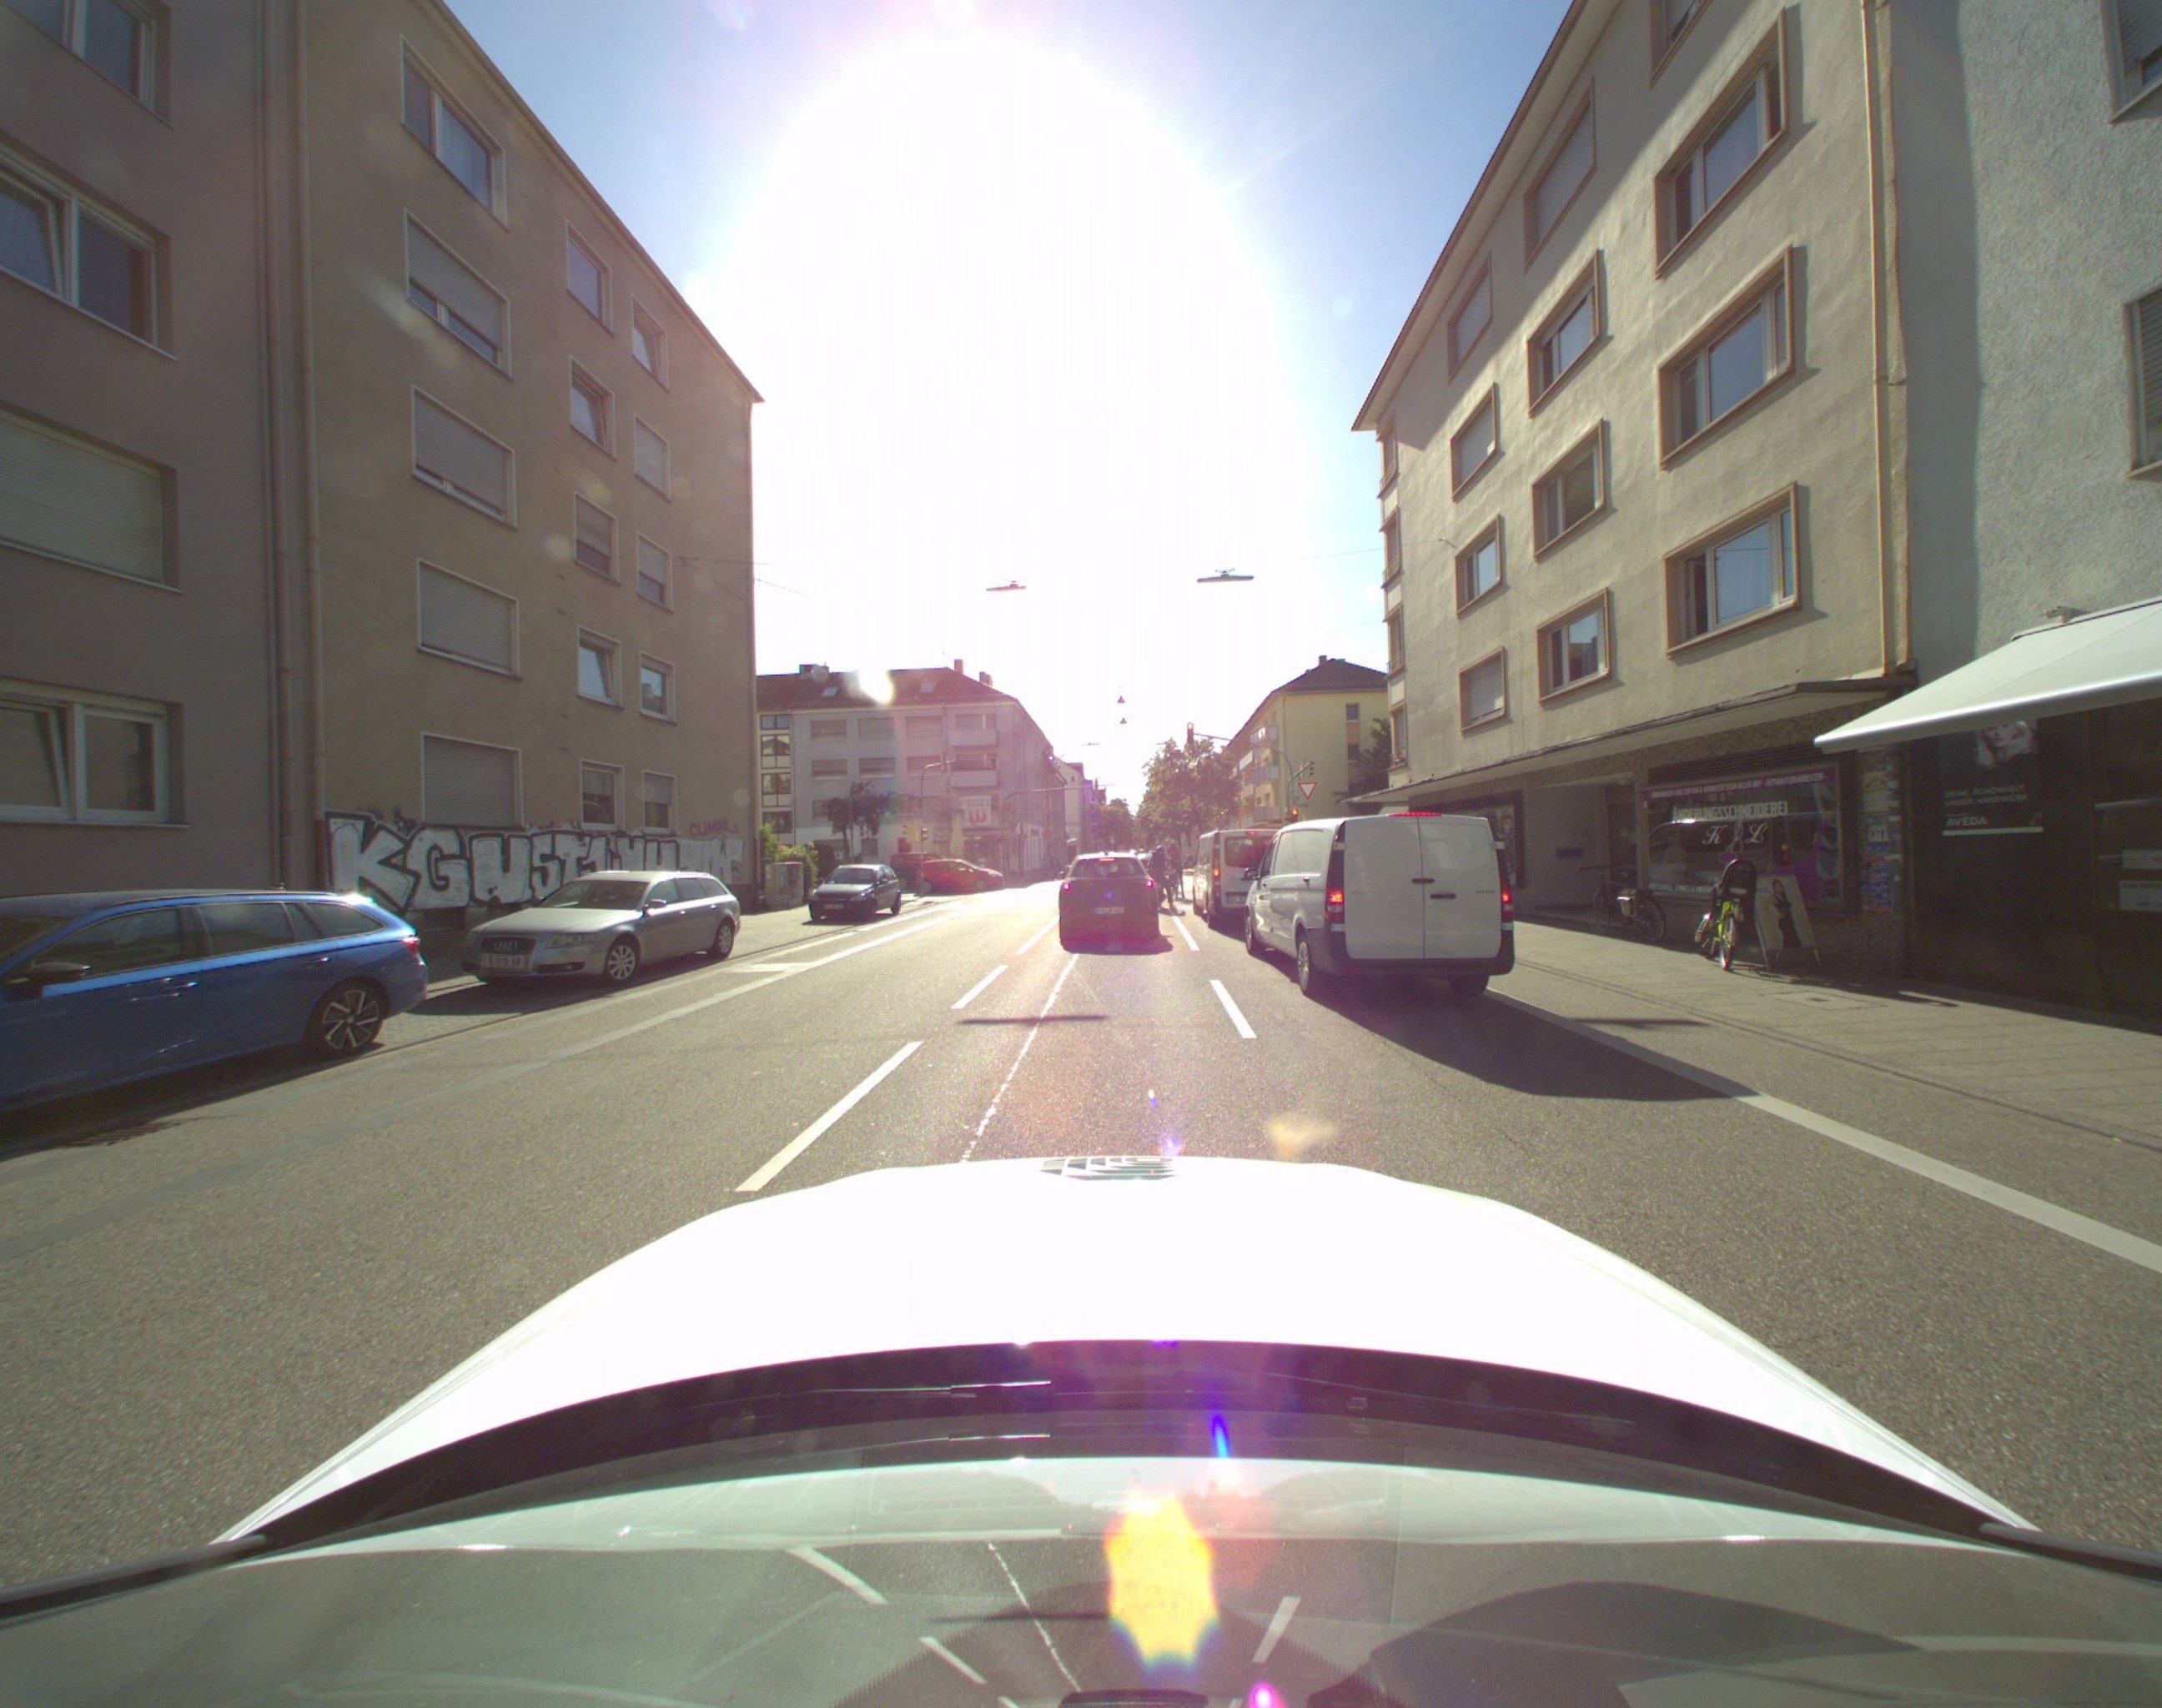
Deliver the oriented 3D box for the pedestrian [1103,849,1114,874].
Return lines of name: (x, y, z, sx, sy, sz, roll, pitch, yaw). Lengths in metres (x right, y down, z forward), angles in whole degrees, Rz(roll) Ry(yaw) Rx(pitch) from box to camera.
pedestrian: (1.817, 0.474, 53.152, 0.677, 1.606, 0.763, -2, 0, 1)

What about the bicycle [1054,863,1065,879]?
bicycle: (-1.423, 1.119, 53.674, 0.520, 0.992, 2.340, -2, 0, 2)

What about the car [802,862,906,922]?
car: (-6.110, 0.971, 22.318, 1.610, 1.425, 3.713, 1, 0, 3)

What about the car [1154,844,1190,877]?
car: (5.179, 0.351, 46.692, 1.893, 1.728, 4.005, -2, 0, 4)

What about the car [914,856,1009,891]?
car: (-5.454, 0.885, 37.412, 3.970, 1.464, 1.833, -2, -1, 3)

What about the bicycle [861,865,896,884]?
bicycle: (-13.278, 1.324, 53.345, 2.102, 1.172, 0.735, -2, 0, -20)

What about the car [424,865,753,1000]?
car: (-6.796, 0.963, 12.032, 1.710, 1.465, 4.819, 1, 0, 3)

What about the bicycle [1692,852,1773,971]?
bicycle: (7.797, 0.637, 9.798, 0.434, 1.249, 1.771, -4, 0, 30)

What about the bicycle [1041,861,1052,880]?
bicycle: (-2.285, 1.074, 53.728, 0.520, 1.147, 2.284, -2, 0, 2)

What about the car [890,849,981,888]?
car: (-7.169, 0.701, 40.374, 4.044, 1.728, 1.909, -2, 0, 2)

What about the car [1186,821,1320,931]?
car: (3.521, 0.407, 17.651, 1.986, 1.979, 4.897, -2, 0, 2)

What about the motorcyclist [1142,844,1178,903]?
motorcyclist: (2.088, 0.503, 21.634, 0.860, 1.502, 1.160, -2, 0, 2)

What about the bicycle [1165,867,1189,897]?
bicycle: (3.156, 0.905, 26.989, 0.575, 0.904, 2.302, -2, 0, 2)

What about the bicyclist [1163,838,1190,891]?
bicyclist: (3.143, 0.338, 26.902, 0.687, 1.712, 1.414, -2, 0, 2)

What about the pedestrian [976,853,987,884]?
pedestrian: (-5.869, 0.841, 48.000, 0.560, 1.775, 0.583, -2, 0, -5)

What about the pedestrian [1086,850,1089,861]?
pedestrian: (1.073, 0.174, 126.729, 0.400, 1.674, 0.418, -2, 0, 3)

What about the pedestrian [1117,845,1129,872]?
pedestrian: (2.746, 0.285, 53.310, 0.704, 1.701, 0.803, -2, 0, 1)

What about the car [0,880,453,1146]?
car: (-7.202, 0.998, 5.790, 1.710, 1.465, 4.616, 0, 0, 3)

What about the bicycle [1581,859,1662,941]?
bicycle: (8.258, 0.666, 12.506, 0.398, 1.136, 1.733, -2, 0, 12)

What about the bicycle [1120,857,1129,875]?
bicycle: (2.823, 0.789, 53.398, 0.520, 1.147, 2.171, -2, 0, 2)

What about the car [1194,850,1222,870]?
car: (9.497, 0.422, 61.084, 1.627, 1.433, 4.004, -2, 0, 3)

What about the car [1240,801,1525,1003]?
car: (3.285, 0.444, 10.070, 1.829, 1.869, 4.999, 0, 0, 2)

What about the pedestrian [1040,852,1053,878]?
pedestrian: (-2.270, 0.694, 53.533, 0.704, 1.677, 0.803, -2, 0, 1)

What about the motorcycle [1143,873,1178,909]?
motorcycle: (2.096, 0.960, 21.587, 0.822, 0.845, 1.886, -2, 0, 3)

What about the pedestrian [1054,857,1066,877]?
pedestrian: (-1.397, 0.869, 53.430, 0.704, 1.253, 0.803, -2, 0, 1)

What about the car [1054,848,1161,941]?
car: (0.514, 0.687, 15.871, 1.764, 1.530, 4.002, -2, 0, 2)
